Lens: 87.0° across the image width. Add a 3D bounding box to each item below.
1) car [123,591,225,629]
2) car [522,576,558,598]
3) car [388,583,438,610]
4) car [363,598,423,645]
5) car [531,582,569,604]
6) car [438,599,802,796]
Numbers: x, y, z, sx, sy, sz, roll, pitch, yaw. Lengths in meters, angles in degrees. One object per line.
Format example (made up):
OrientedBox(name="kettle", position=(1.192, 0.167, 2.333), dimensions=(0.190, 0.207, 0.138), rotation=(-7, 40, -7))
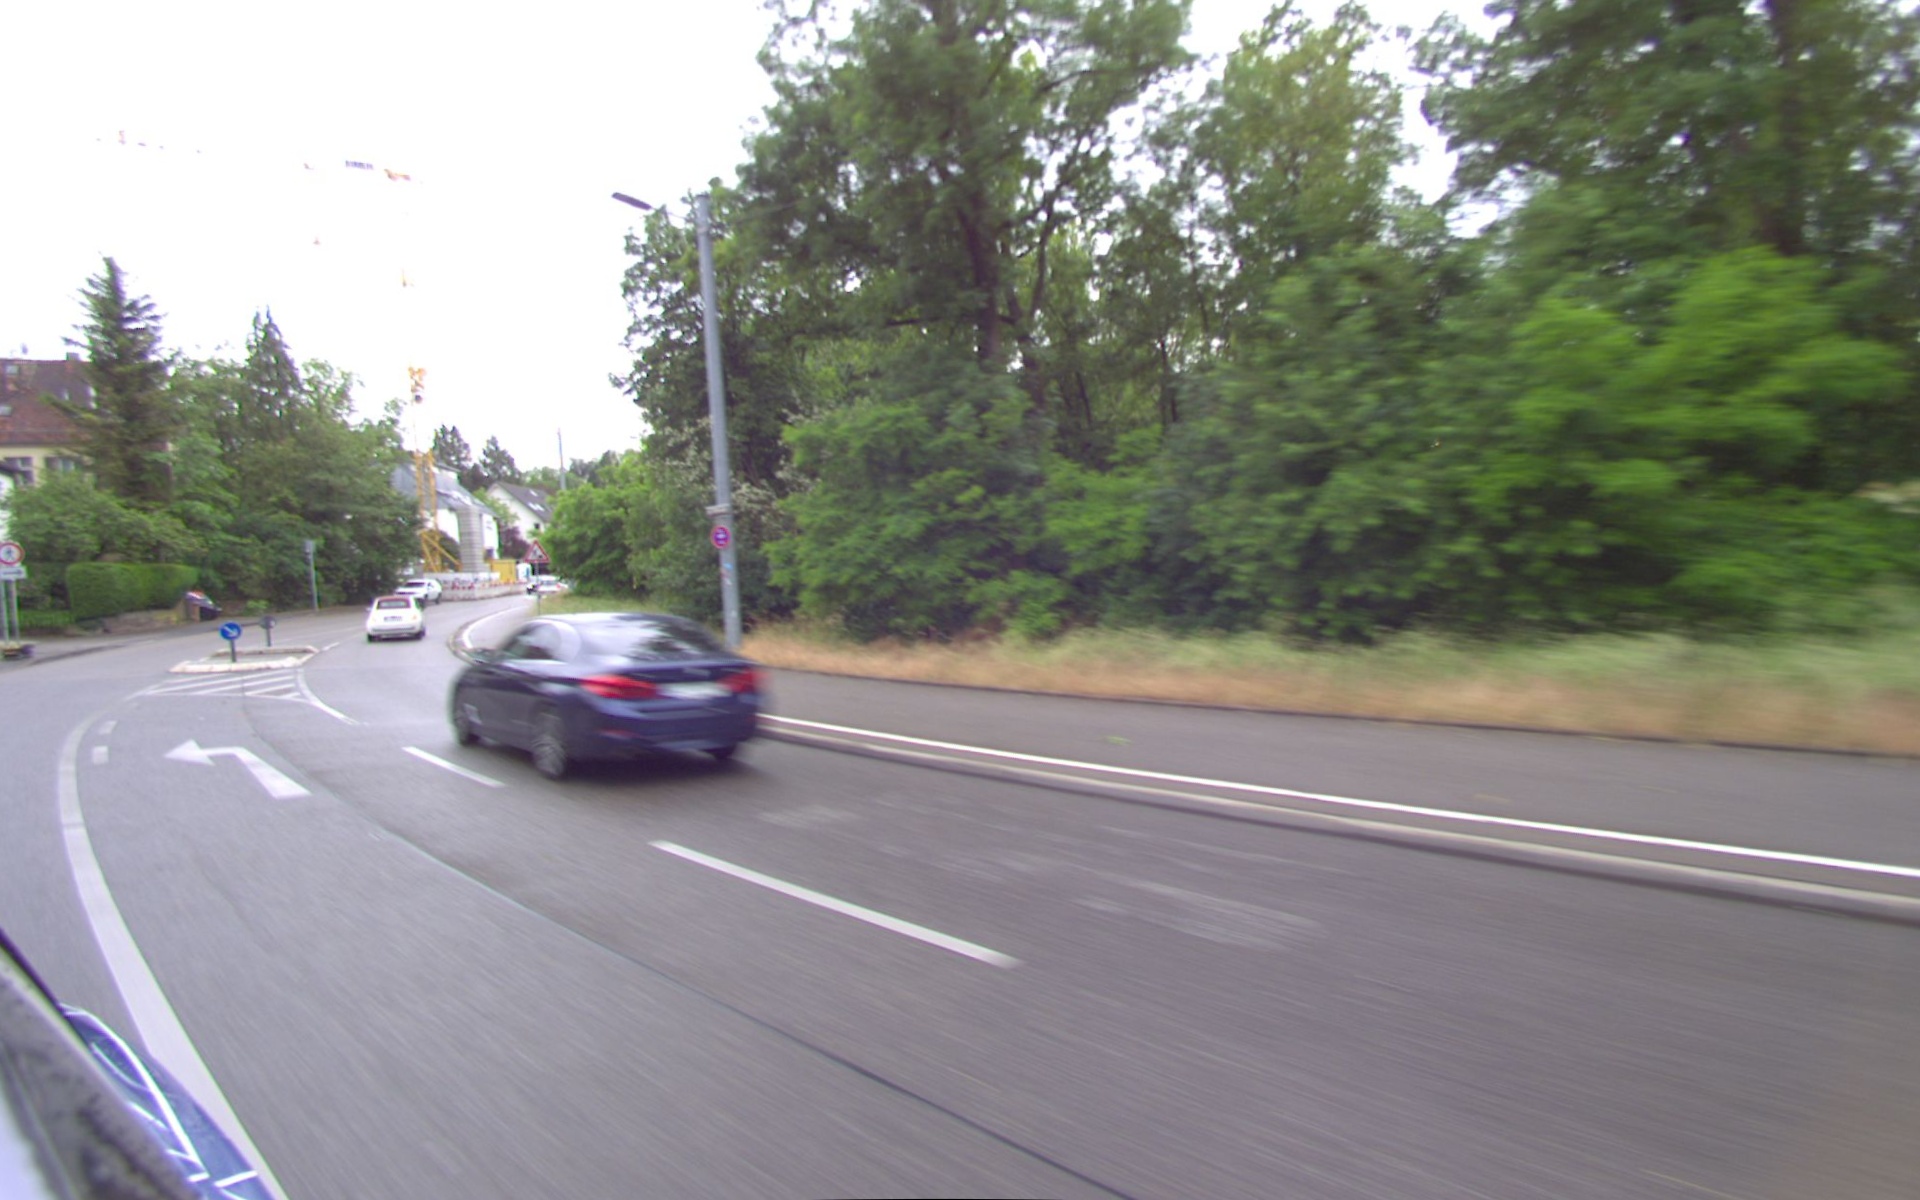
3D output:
OrientedBox(name="car", position=(-37.238, 0.446, 48.022), dimensions=(3.429, 1.422, 1.432), rotation=(-6, 3, -20))
OrientedBox(name="car", position=(-34.538, -1.052, 83.339), dimensions=(1.967, 1.730, 4.009), rotation=(-1, 0, -11))
OrientedBox(name="car", position=(-34.557, -0.251, 64.020), dimensions=(1.802, 1.607, 4.011), rotation=(0, 2, -13))
OrientedBox(name="car", position=(-19.532, 0.691, 34.989), dimensions=(1.544, 1.488, 3.679), rotation=(-1, 1, -26))
OrientedBox(name="car", position=(-29.721, -0.541, 73.441), dimensions=(1.612, 1.465, 3.809), rotation=(-2, 2, -8))
OrientedBox(name="car", position=(-3.603, 0.770, 10.110), dimensions=(1.824, 1.512, 4.638), rotation=(0, -1, -41))
